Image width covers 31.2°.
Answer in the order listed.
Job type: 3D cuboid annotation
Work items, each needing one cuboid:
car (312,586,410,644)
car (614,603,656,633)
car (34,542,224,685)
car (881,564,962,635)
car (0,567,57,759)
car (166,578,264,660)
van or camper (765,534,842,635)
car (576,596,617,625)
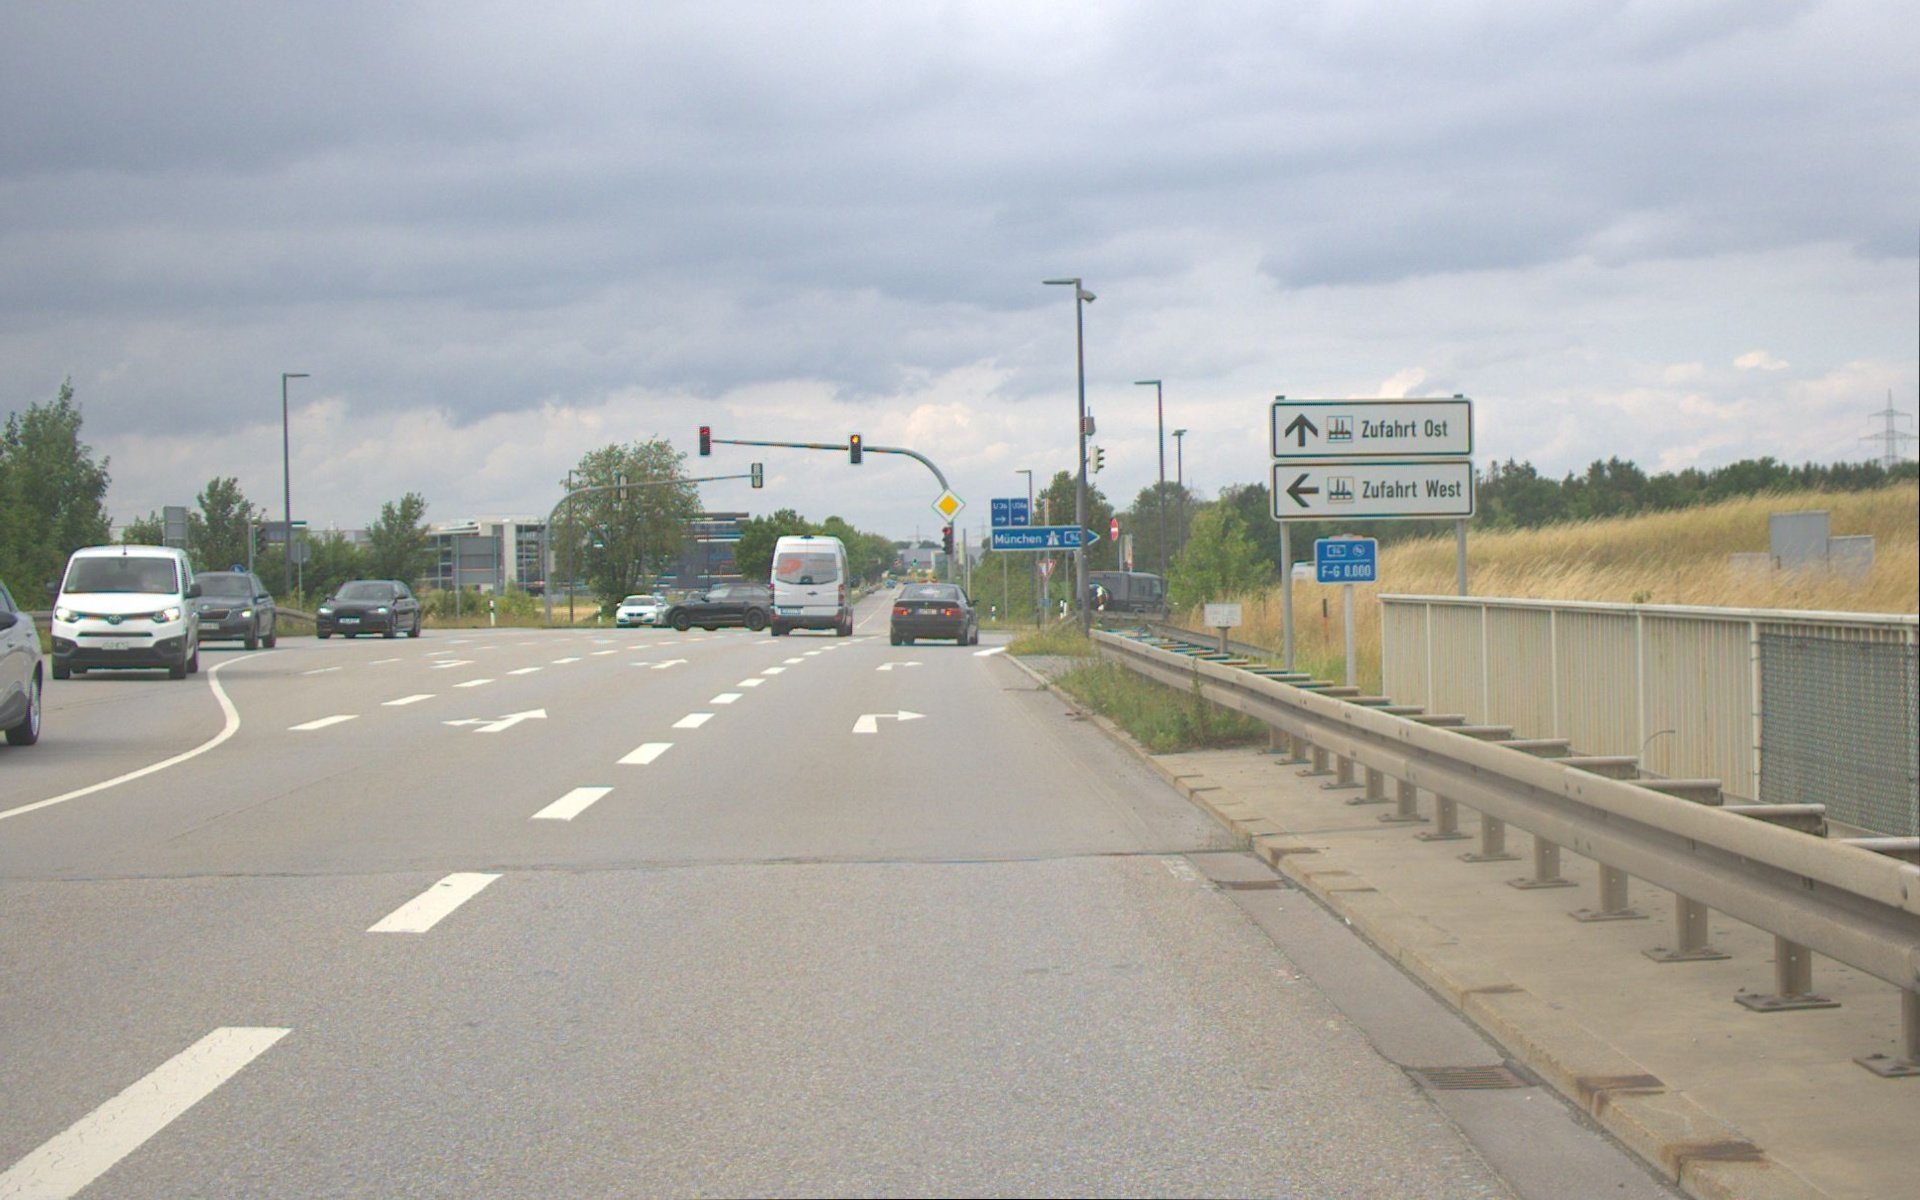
[{"bbox_3d":[-14.808,0.379,85.159,1.808,1.364,4.786,-1,0,-3],"label":"car"},{"bbox_3d":[-14.109,0.772,149.433,1.480,1.278,3.533,0,0,0],"label":"car"},{"bbox_3d":[-11.471,0.174,47.744,1.953,1.868,4.821,0,0,-6],"label":"car"},{"bbox_3d":[-0.808,-0.011,73.964,1.518,1.480,3.615,0,0,3],"label":"car"},{"bbox_3d":[-8.347,0.489,27.176,1.711,1.481,4.280,0,0,-6],"label":"car"},{"bbox_3d":[-14.549,0.361,67.280,1.582,1.552,4.147,1,0,-8],"label":"car"},{"bbox_3d":[-4.102,-0.415,90.635,1.876,2.572,4.000,1,0,-1],"label":"van or camper"},{"bbox_3d":[-16.675,0.468,157.789,1.480,1.278,3.533,0,0,0],"label":"car"}]
